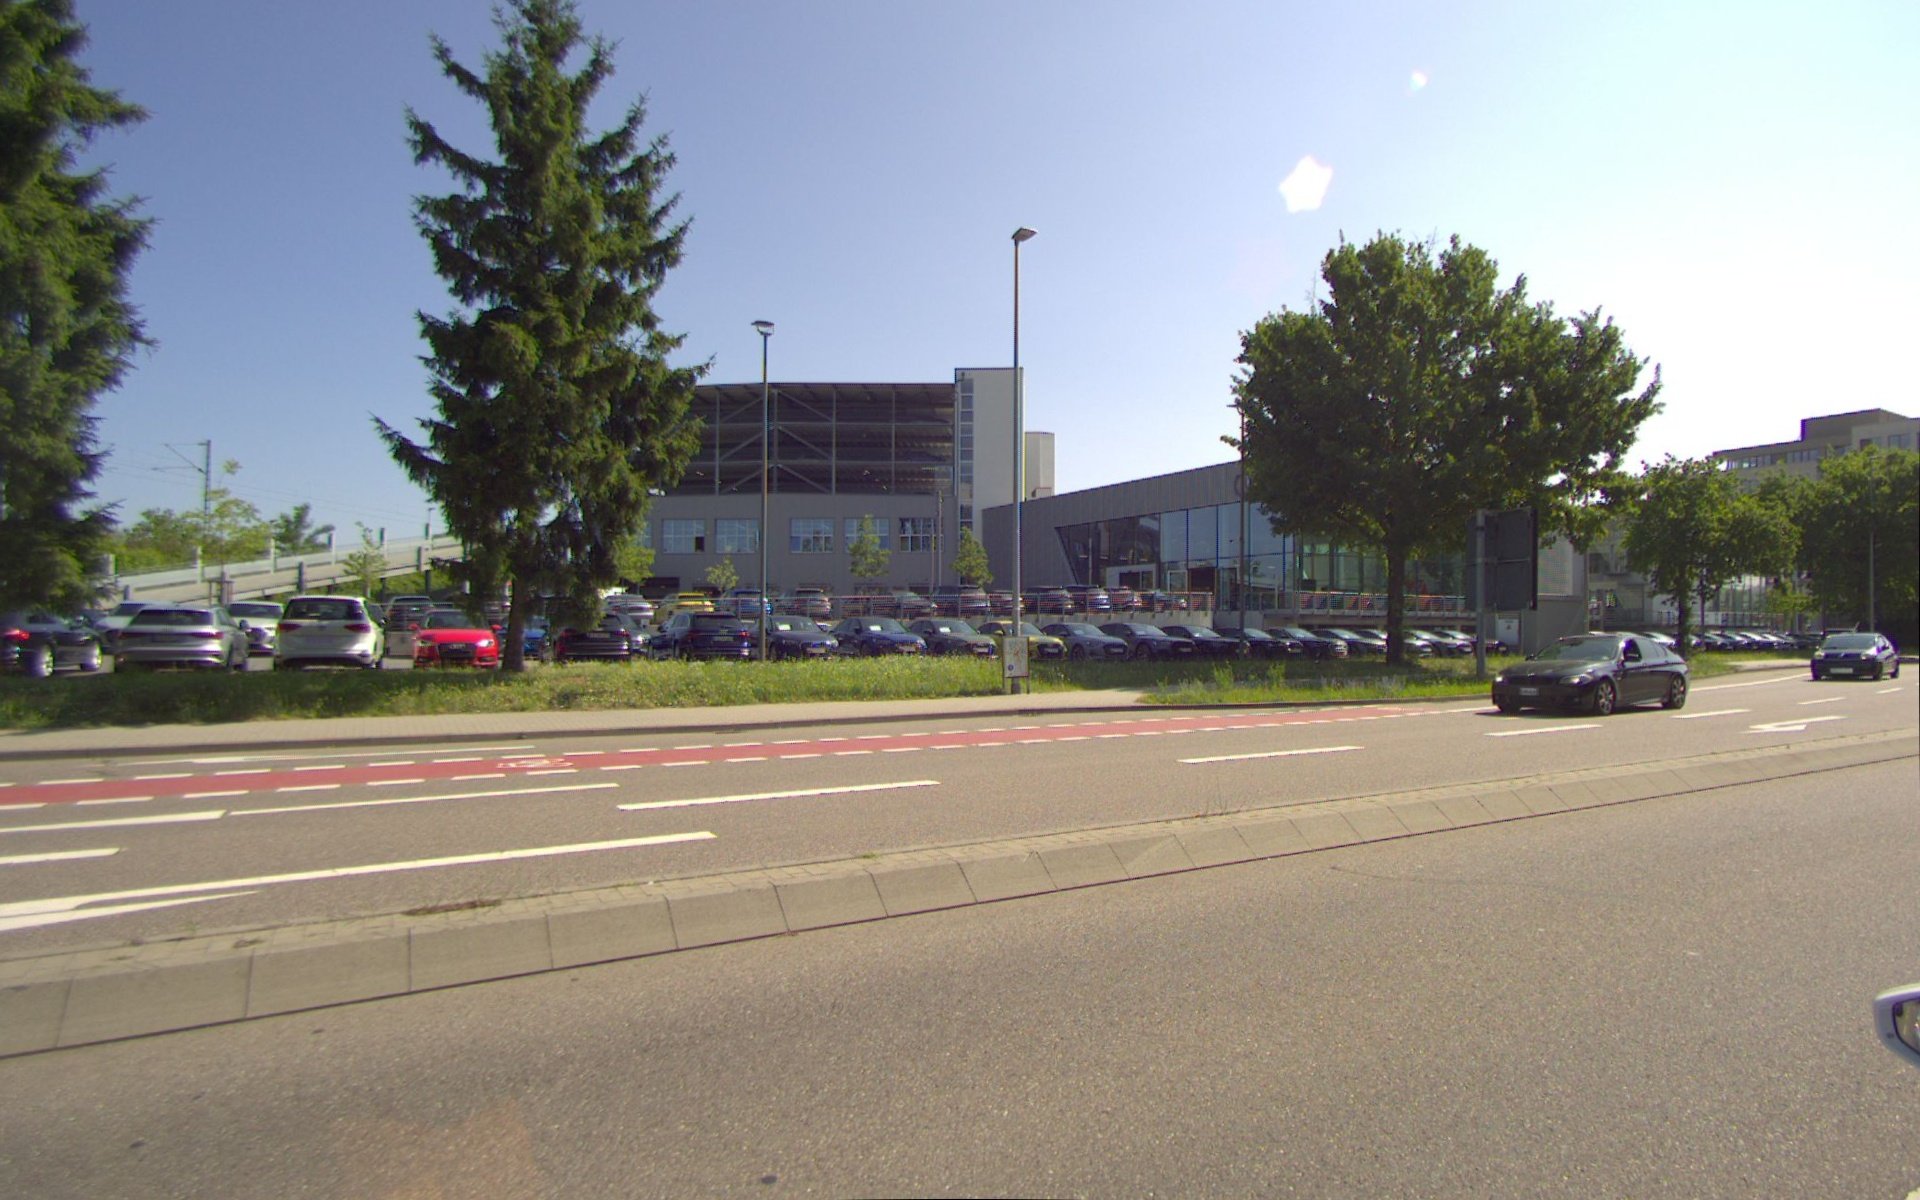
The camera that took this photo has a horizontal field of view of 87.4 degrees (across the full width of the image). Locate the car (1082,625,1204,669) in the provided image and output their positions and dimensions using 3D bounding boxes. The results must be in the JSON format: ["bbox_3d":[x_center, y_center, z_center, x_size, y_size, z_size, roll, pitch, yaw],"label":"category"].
[{"bbox_3d":[6.157,1.560,34.335,1.929,1.368,4.250,1,-2,-27],"label":"car"}]

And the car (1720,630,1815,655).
[{"bbox_3d":[47.252,2.488,58.851,1.901,1.394,3.969,1,-2,-29],"label":"car"}]

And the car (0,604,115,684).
[{"bbox_3d":[-17.907,0.795,19.082,1.720,1.372,4.076,2,-2,-24],"label":"car"}]

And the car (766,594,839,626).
[{"bbox_3d":[-7.072,0.475,44.847,1.930,1.368,4.248,1,-2,-29],"label":"car"}]

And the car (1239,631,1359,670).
[{"bbox_3d":[12.902,1.890,38.519,1.929,1.368,4.250,1,-2,-27],"label":"car"}]

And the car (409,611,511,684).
[{"bbox_3d":[-11.641,1.059,23.378,1.929,1.523,4.250,1,-2,-27],"label":"car"}]

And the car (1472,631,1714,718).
[{"bbox_3d":[12.169,1.367,19.223,4.941,1.482,1.833,1,-4,-30],"label":"car"}]

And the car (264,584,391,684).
[{"bbox_3d":[-13.470,0.710,21.625,1.929,1.909,4.250,1,-2,-27],"label":"car"}]

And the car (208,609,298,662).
[{"bbox_3d":[-20.840,1.025,29.756,1.722,1.457,4.069,1,-2,-29],"label":"car"}]

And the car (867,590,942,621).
[{"bbox_3d":[-2.678,0.317,47.450,1.930,1.368,4.248,1,-2,-29],"label":"car"}]

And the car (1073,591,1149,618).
[{"bbox_3d":[8.191,0.272,54.702,1.930,1.368,4.248,1,-2,-29],"label":"car"}]

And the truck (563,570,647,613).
[{"bbox_3d":[-26.891,-0.533,76.614,2.612,2.955,8.469,0,-2,6],"label":"truck"}]

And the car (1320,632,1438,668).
[{"bbox_3d":[17.047,1.998,41.062,1.929,1.368,4.250,1,-2,-27],"label":"car"}]

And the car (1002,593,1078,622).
[{"bbox_3d":[4.067,0.417,51.603,1.930,1.368,4.248,1,-2,-29],"label":"car"}]

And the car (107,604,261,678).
[{"bbox_3d":[-15.417,0.791,20.180,1.721,1.310,4.072,1,-2,-27],"label":"car"}]

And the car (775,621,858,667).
[{"bbox_3d":[-5.660,1.670,39.154,1.929,1.664,4.250,1,-2,-27],"label":"car"}]

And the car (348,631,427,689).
[{"bbox_3d":[-17.819,1.804,31.413,1.929,1.664,4.250,1,-2,-27],"label":"car"}]

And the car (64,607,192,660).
[{"bbox_3d":[-23.317,0.935,28.319,1.719,1.372,4.076,1,-2,-24],"label":"car"}]

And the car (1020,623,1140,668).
[{"bbox_3d":[3.879,1.463,33.210,1.929,1.368,4.250,1,-2,-27],"label":"car"}]

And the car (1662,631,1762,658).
[{"bbox_3d":[40.992,2.389,54.835,1.901,1.394,3.969,1,-2,-29],"label":"car"}]

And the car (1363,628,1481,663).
[{"bbox_3d":[19.376,1.872,42.267,1.929,1.368,4.250,1,-2,-27],"label":"car"}]

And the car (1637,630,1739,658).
[{"bbox_3d":[38.717,2.319,53.520,1.901,1.394,3.969,1,-2,-29],"label":"car"}]

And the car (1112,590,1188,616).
[{"bbox_3d":[10.579,0.208,56.147,1.930,1.368,4.248,1,-2,-29],"label":"car"}]

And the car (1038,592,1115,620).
[{"bbox_3d":[6.080,0.354,52.856,1.930,1.368,4.248,1,-2,-29],"label":"car"}]

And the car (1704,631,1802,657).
[{"bbox_3d":[45.055,2.477,57.158,1.901,1.394,3.969,1,-2,-29],"label":"car"}]

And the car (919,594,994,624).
[{"bbox_3d":[-0.228,0.488,49.083,1.930,1.368,4.248,1,-2,-29],"label":"car"}]

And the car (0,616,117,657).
[{"bbox_3d":[-34.312,1.330,37.271,4.458,1.461,2.001,0,-2,3],"label":"car"}]

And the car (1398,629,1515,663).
[{"bbox_3d":[21.431,1.941,43.490,1.929,1.368,4.250,1,-2,-27],"label":"car"}]

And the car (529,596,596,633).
[{"bbox_3d":[-15.734,0.602,39.649,1.930,1.368,4.248,1,-2,-29],"label":"car"}]

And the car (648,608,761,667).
[{"bbox_3d":[-6.710,0.944,26.082,1.929,1.399,4.250,1,-2,-27],"label":"car"}]

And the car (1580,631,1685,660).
[{"bbox_3d":[34.098,2.263,51.029,2.001,1.394,4.024,1,-2,-29],"label":"car"}]

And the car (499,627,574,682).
[{"bbox_3d":[-14.055,1.743,33.211,1.929,1.664,4.250,1,-2,-27],"label":"car"}]

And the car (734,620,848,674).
[{"bbox_3d":[-4.787,1.253,27.922,1.929,1.368,4.250,1,-2,-27],"label":"car"}]

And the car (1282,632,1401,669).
[{"bbox_3d":[15.041,1.956,39.813,1.929,1.368,4.250,1,-2,-27],"label":"car"}]

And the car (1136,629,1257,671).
[{"bbox_3d":[8.373,1.736,35.906,1.929,1.368,4.250,1,-2,-27],"label":"car"}]

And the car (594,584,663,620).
[{"bbox_3d":[-13.541,0.131,40.885,1.930,1.368,4.248,1,-2,-29],"label":"car"}]

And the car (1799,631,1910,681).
[{"bbox_3d":[27.659,1.712,31.029,3.962,1.433,1.771,2,-4,-37],"label":"car"}]

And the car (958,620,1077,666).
[{"bbox_3d":[1.741,1.336,31.924,1.929,1.368,4.250,1,-2,-27],"label":"car"}]

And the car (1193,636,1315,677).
[{"bbox_3d":[10.771,2.036,37.095,1.929,1.368,4.250,1,-2,-27],"label":"car"}]

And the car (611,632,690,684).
[{"bbox_3d":[-10.933,1.989,35.306,1.929,1.664,4.250,1,-2,-27],"label":"car"}]

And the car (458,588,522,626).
[{"bbox_3d":[-17.866,0.301,38.106,1.930,1.368,4.248,1,-2,-29],"label":"car"}]

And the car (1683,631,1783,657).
[{"bbox_3d":[43.016,2.422,55.977,1.901,1.394,3.969,1,-2,-29],"label":"car"}]

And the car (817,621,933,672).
[{"bbox_3d":[-2.562,1.308,29.309,1.929,1.368,4.250,1,-2,-27],"label":"car"}]

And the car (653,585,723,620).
[{"bbox_3d":[-11.519,0.160,42.353,1.930,1.368,4.248,1,-2,-29],"label":"car"}]

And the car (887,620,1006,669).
[{"bbox_3d":[-0.486,1.301,30.450,1.929,1.368,4.250,1,-2,-27],"label":"car"}]

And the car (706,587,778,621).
[{"bbox_3d":[-9.480,0.207,43.490,1.930,1.368,4.248,1,-2,-29],"label":"car"}]

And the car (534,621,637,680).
[{"bbox_3d":[-9.436,1.201,25.116,1.929,1.346,4.250,1,-2,-27],"label":"car"}]

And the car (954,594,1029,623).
[{"bbox_3d":[1.541,0.456,50.917,1.930,1.368,4.248,1,-2,-29],"label":"car"}]
